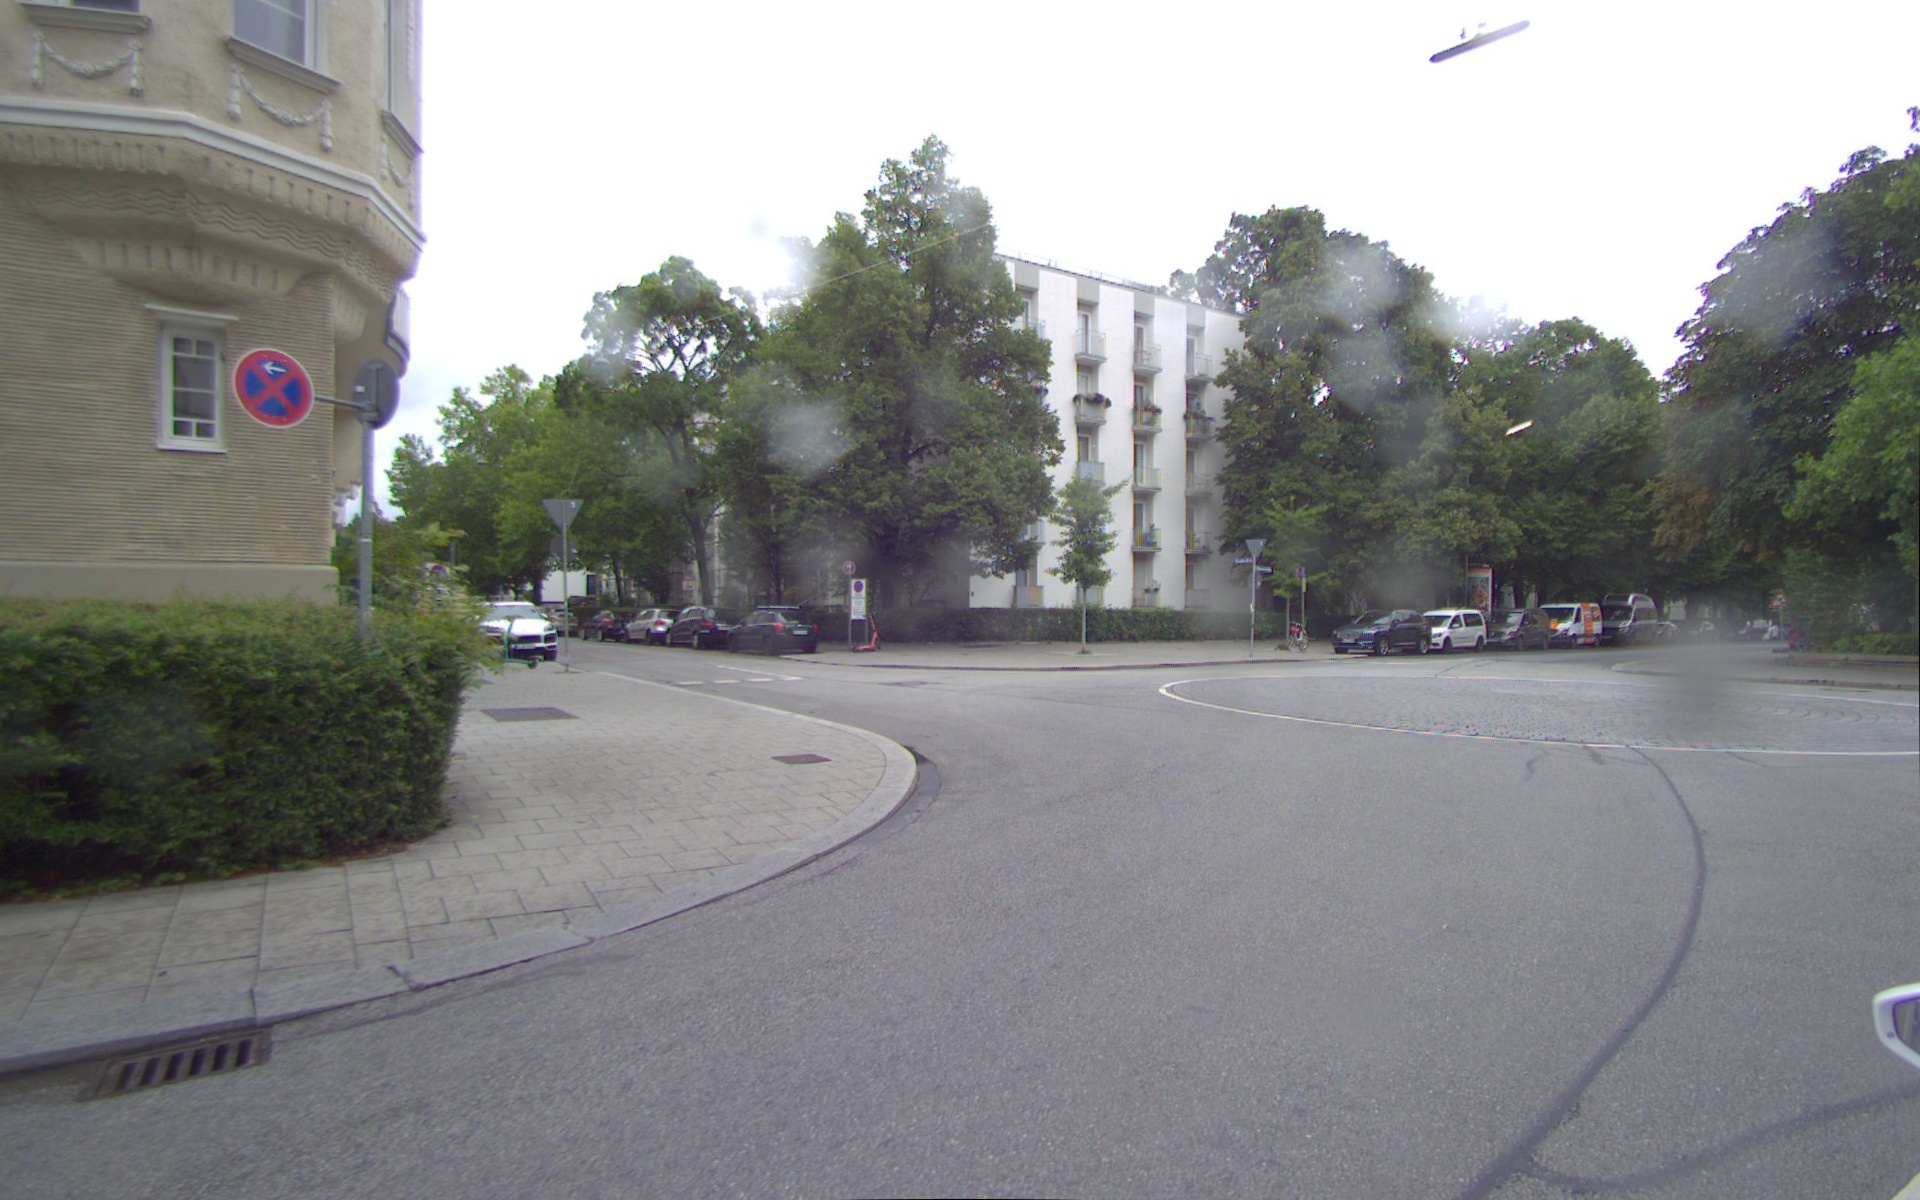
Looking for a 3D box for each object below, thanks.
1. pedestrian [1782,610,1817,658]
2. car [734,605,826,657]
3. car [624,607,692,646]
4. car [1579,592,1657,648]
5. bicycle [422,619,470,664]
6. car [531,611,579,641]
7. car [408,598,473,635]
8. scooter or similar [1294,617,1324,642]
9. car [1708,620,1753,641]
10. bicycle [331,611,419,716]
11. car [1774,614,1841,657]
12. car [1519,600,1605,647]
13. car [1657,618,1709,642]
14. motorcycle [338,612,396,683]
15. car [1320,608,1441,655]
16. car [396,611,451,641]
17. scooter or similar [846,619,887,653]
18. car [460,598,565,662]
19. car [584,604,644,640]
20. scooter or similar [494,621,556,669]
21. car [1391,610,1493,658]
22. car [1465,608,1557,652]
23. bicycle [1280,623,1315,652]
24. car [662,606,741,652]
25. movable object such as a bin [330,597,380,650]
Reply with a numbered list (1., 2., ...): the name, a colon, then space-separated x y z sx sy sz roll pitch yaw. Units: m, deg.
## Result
1. pedestrian: 33.190 1.319 39.737 0.806 1.860 0.952 0 0 23
2. car: -5.967 0.976 33.035 1.658 1.548 3.642 -2 1 -34
3. car: -12.339 1.046 40.935 1.658 1.476 3.642 -2 1 -34
4. car: 37.577 1.128 57.259 6.184 3.042 2.154 1 -1 -41
5. bicycle: -13.290 1.047 25.933 0.649 1.083 1.952 1 -1 -41
6. car: -21.904 1.391 54.287 1.658 1.476 3.642 -2 1 -34
7. car: -21.960 0.676 42.365 1.979 1.469 4.141 1 -1 -34
8. scooter or similar: 17.379 1.457 49.970 1.645 1.207 0.695 1 -1 -42
9. car: 56.277 2.201 73.360 4.100 1.506 1.975 1 -1 -43
10. bicycle: -7.576 0.757 12.955 0.693 1.219 2.315 0 0 -37
11. car: 41.159 1.665 48.747 4.932 1.962 1.894 1 -1 -42
12. car: 30.907 1.232 51.478 5.556 2.294 2.067 1 -2 -40
13. car: 46.169 1.908 64.096 4.100 1.439 1.975 1 -1 -43
14. motorcycle: -10.666 0.814 18.038 0.735 1.202 1.728 0 0 -36
15. car: 16.404 1.193 39.056 5.257 1.742 2.068 1 -1 -38
16. car: -26.639 1.252 49.829 1.979 1.393 4.141 1 -1 -34
17. scooter or similar: -2.988 1.140 32.188 0.521 1.038 1.303 0 0 44
18. car: -13.005 0.820 29.015 1.979 1.698 4.943 1 -1 -34
19. car: -15.580 0.949 45.107 1.658 1.476 3.642 -2 1 -34
20. scooter or similar: -10.526 1.074 24.309 1.319 1.123 0.543 0 0 12
21. car: 20.456 1.393 42.572 4.817 1.929 2.067 1 -1 -39
22. car: 25.664 1.399 46.712 5.624 1.933 2.008 1 -2 -42
23. bicycle: 13.391 1.479 39.866 0.742 1.099 1.776 0 -1 40
24. car: -9.588 1.038 37.099 1.658 1.548 3.642 -2 1 -34
25. movable object such as a bin: -16.394 0.620 27.249 1.135 1.389 1.171 1 0 -31
